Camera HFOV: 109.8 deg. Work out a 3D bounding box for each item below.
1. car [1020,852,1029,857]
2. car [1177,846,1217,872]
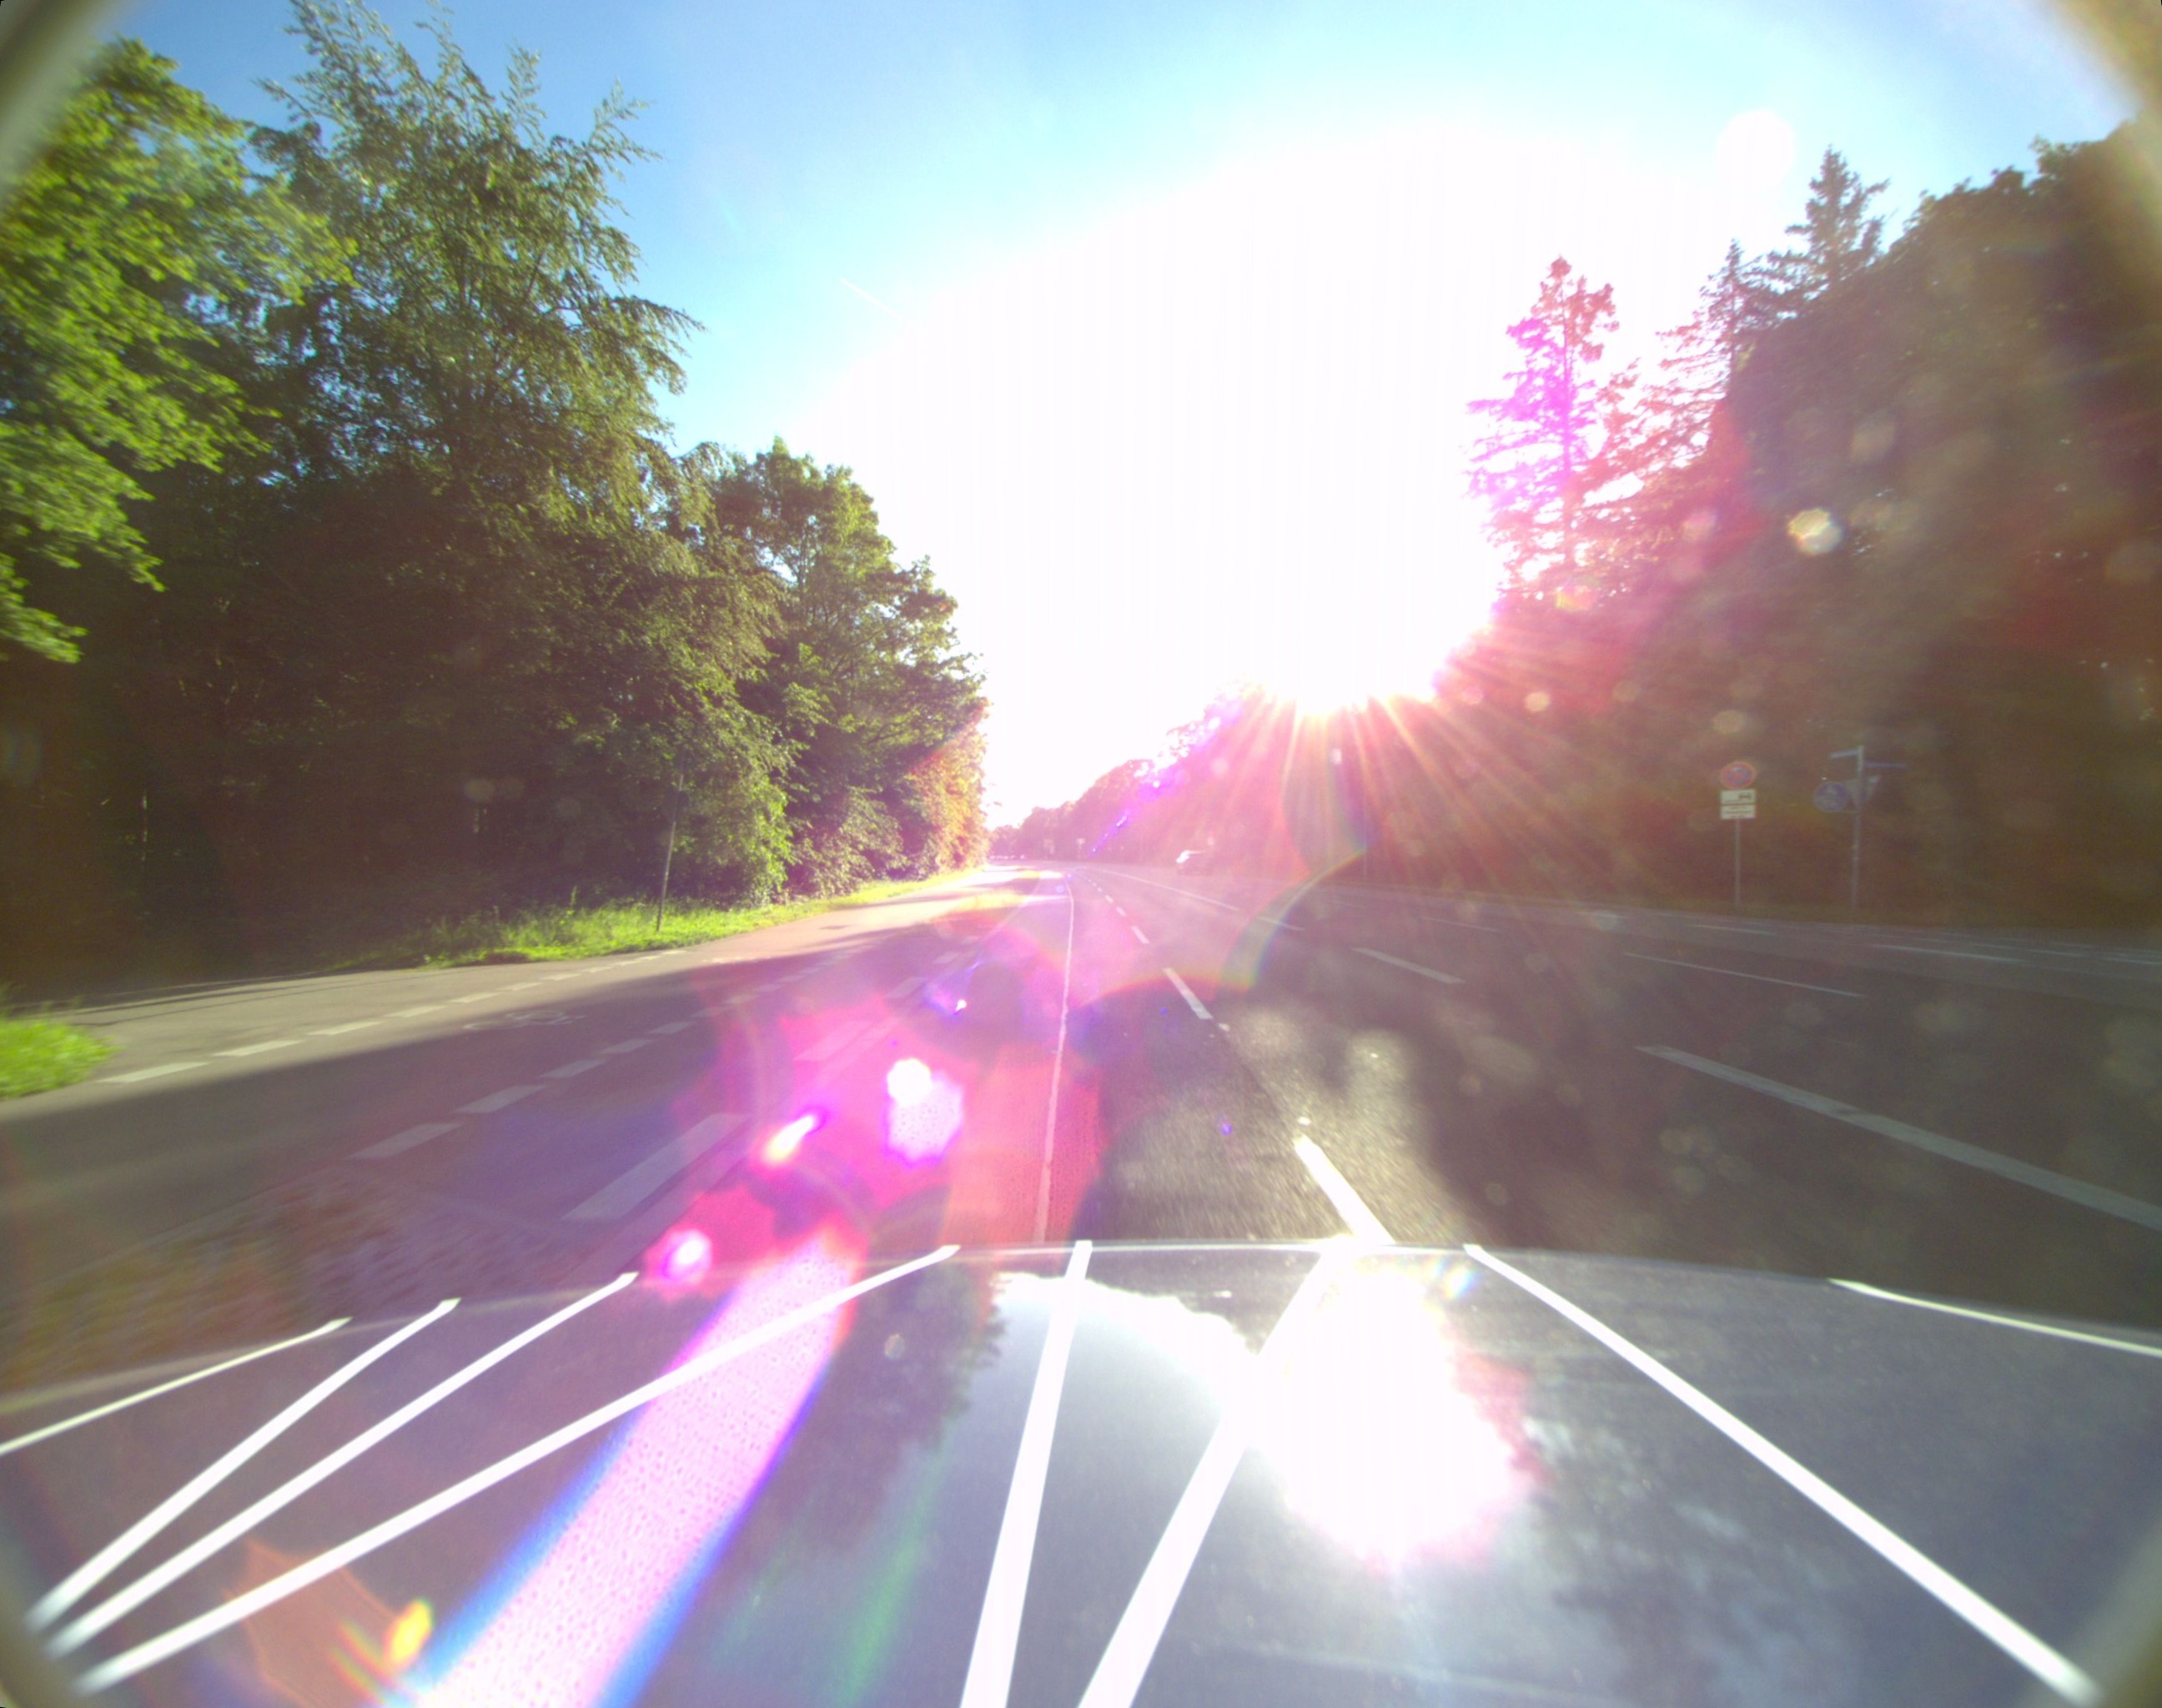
[{"bbox_3d":[-17.595,0.303,235.880,1.745,1.449,3.993,-3,0,-17],"label":"car"},{"bbox_3d":[7.749,0.301,51.317,1.901,1.601,4.448,-1,0,-1],"label":"car"}]
